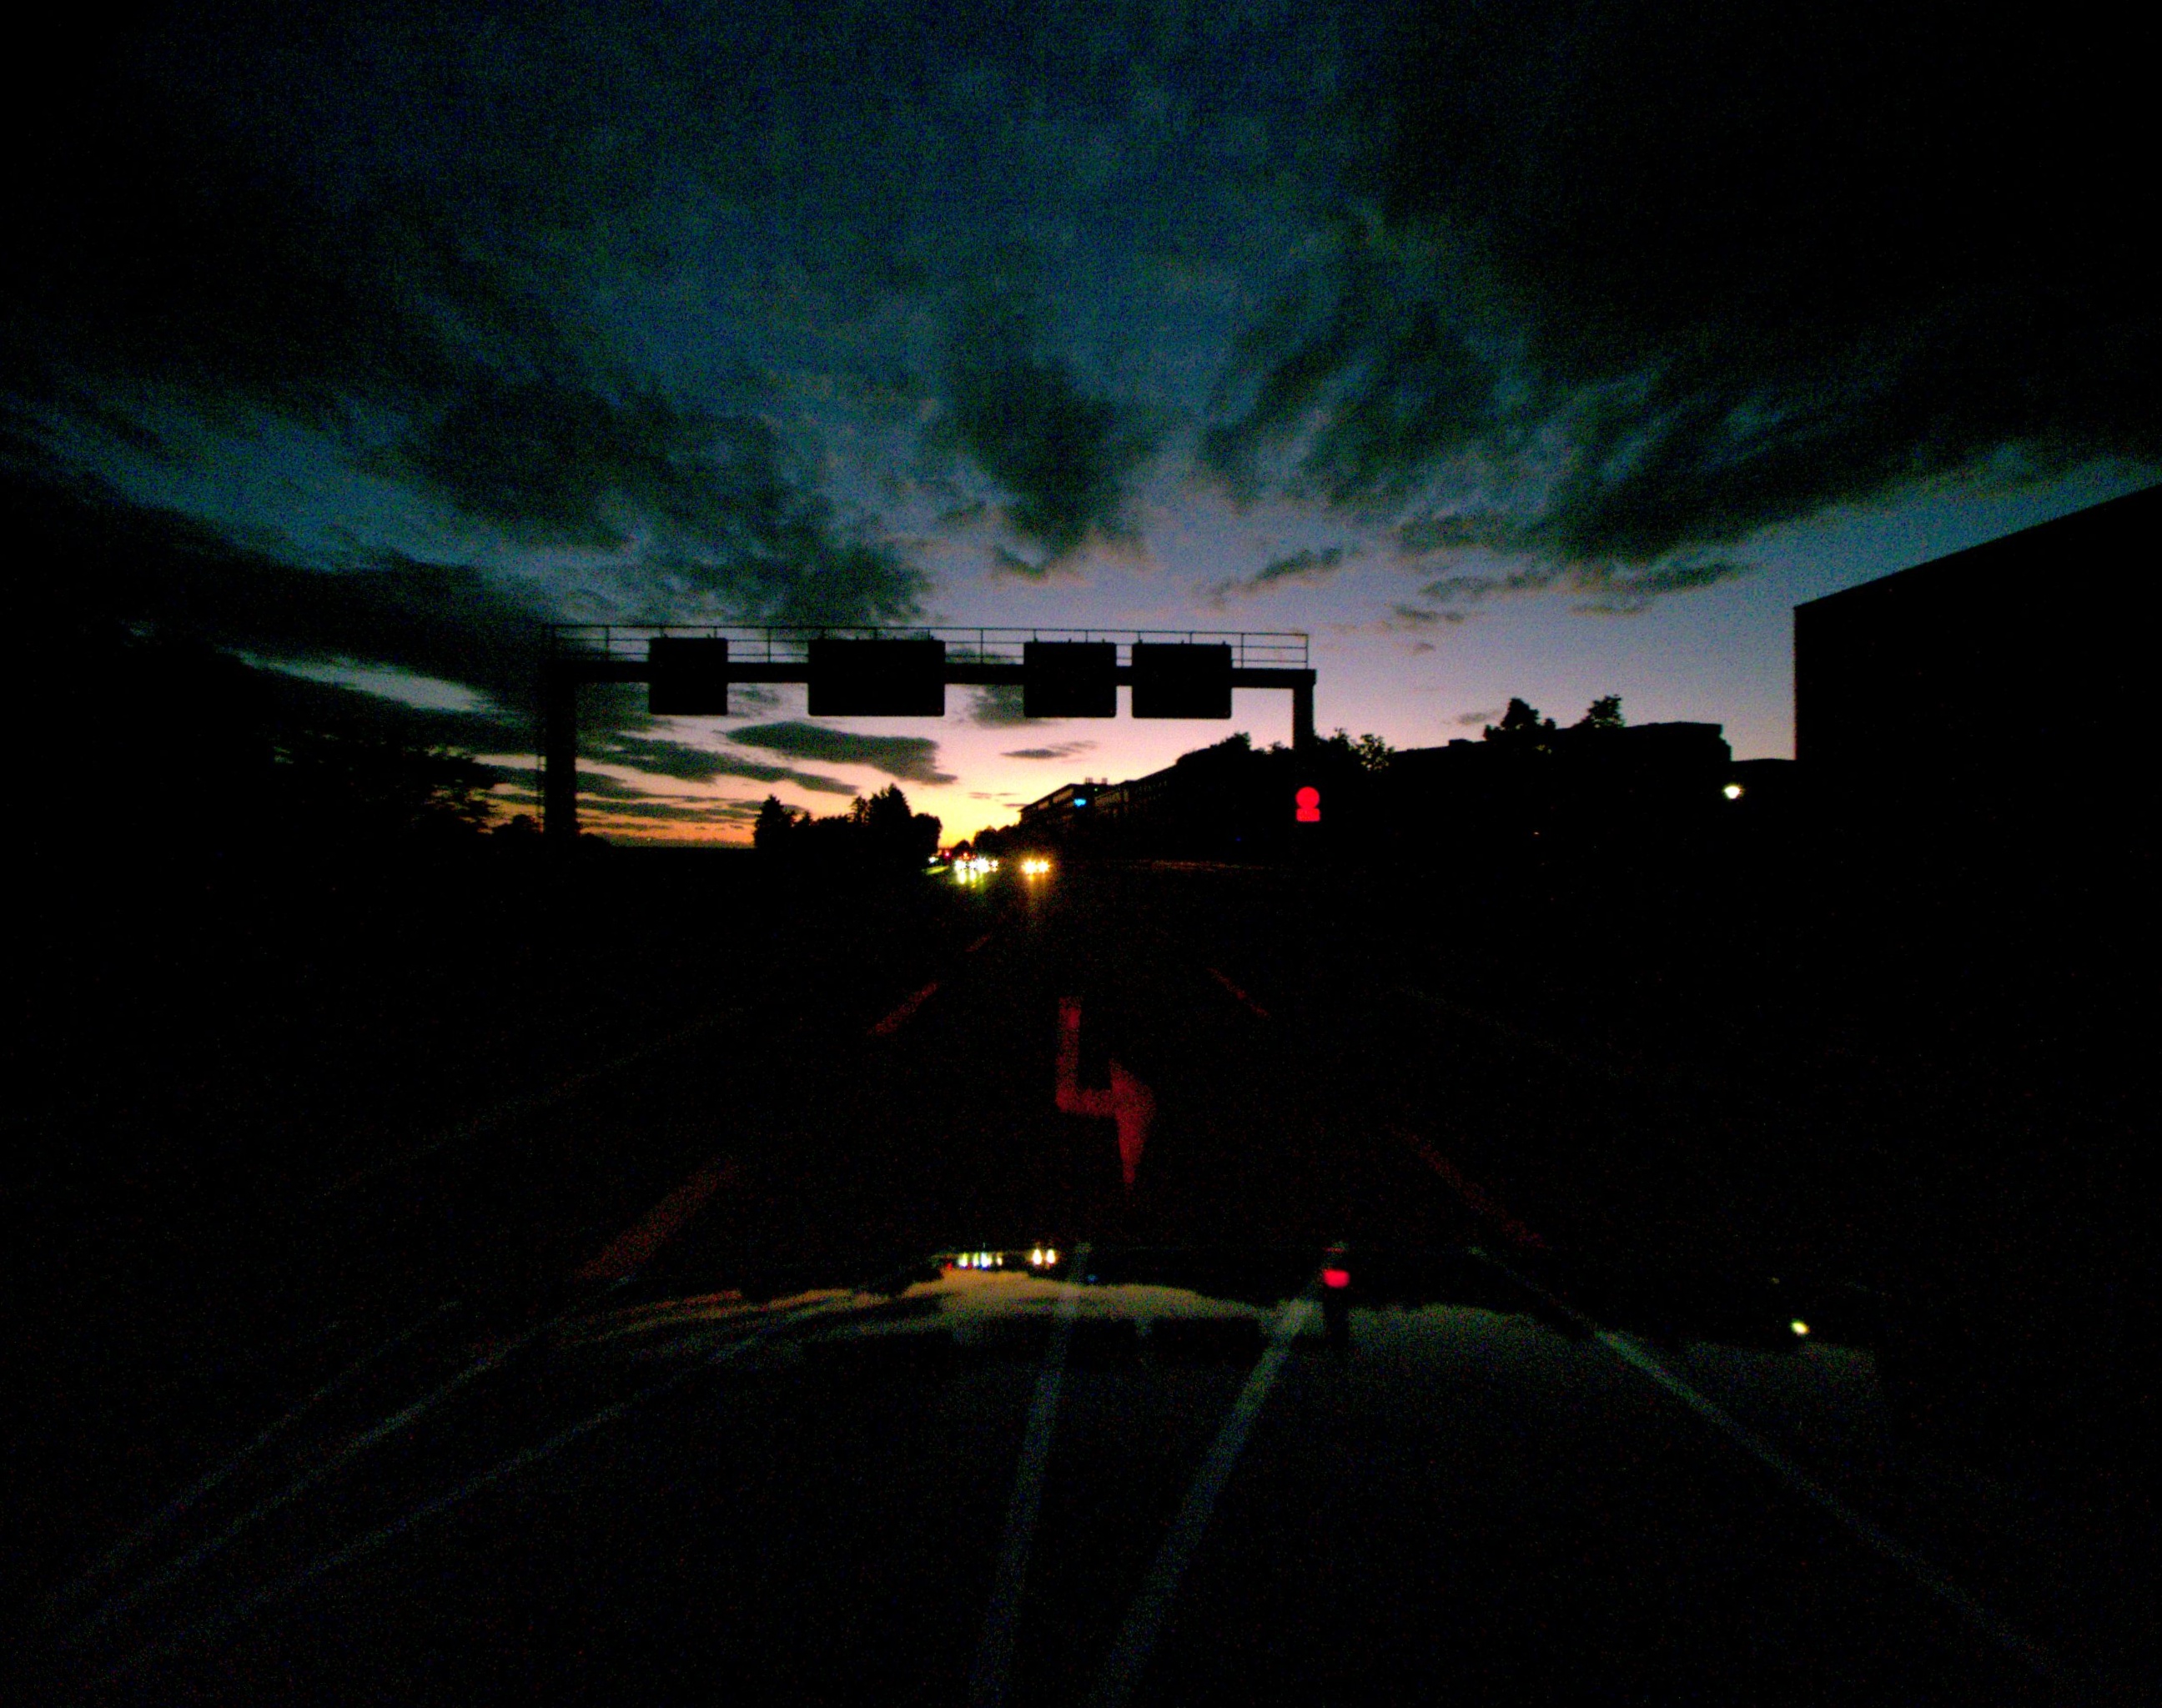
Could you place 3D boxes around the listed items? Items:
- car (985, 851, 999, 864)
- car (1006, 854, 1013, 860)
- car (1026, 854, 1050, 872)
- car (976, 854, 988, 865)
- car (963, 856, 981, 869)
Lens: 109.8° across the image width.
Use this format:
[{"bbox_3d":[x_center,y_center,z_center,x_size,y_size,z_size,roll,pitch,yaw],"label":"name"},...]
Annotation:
[{"bbox_3d":[-13.820,0.550,118.404,1.862,2.002,3.998,-3,1,-5],"label":"car"},{"bbox_3d":[-19.614,0.762,208.090,1.707,1.613,4.303,-1,0,-10],"label":"car"},{"bbox_3d":[-3.923,0.811,69.026,1.757,1.447,3.800,-3,0,-9],"label":"car"},{"bbox_3d":[-17.210,0.960,131.753,1.834,1.739,3.847,-3,0,-9],"label":"car"},{"bbox_3d":[-14.430,1.126,100.658,1.999,1.574,3.998,-3,0,-5],"label":"car"}]
